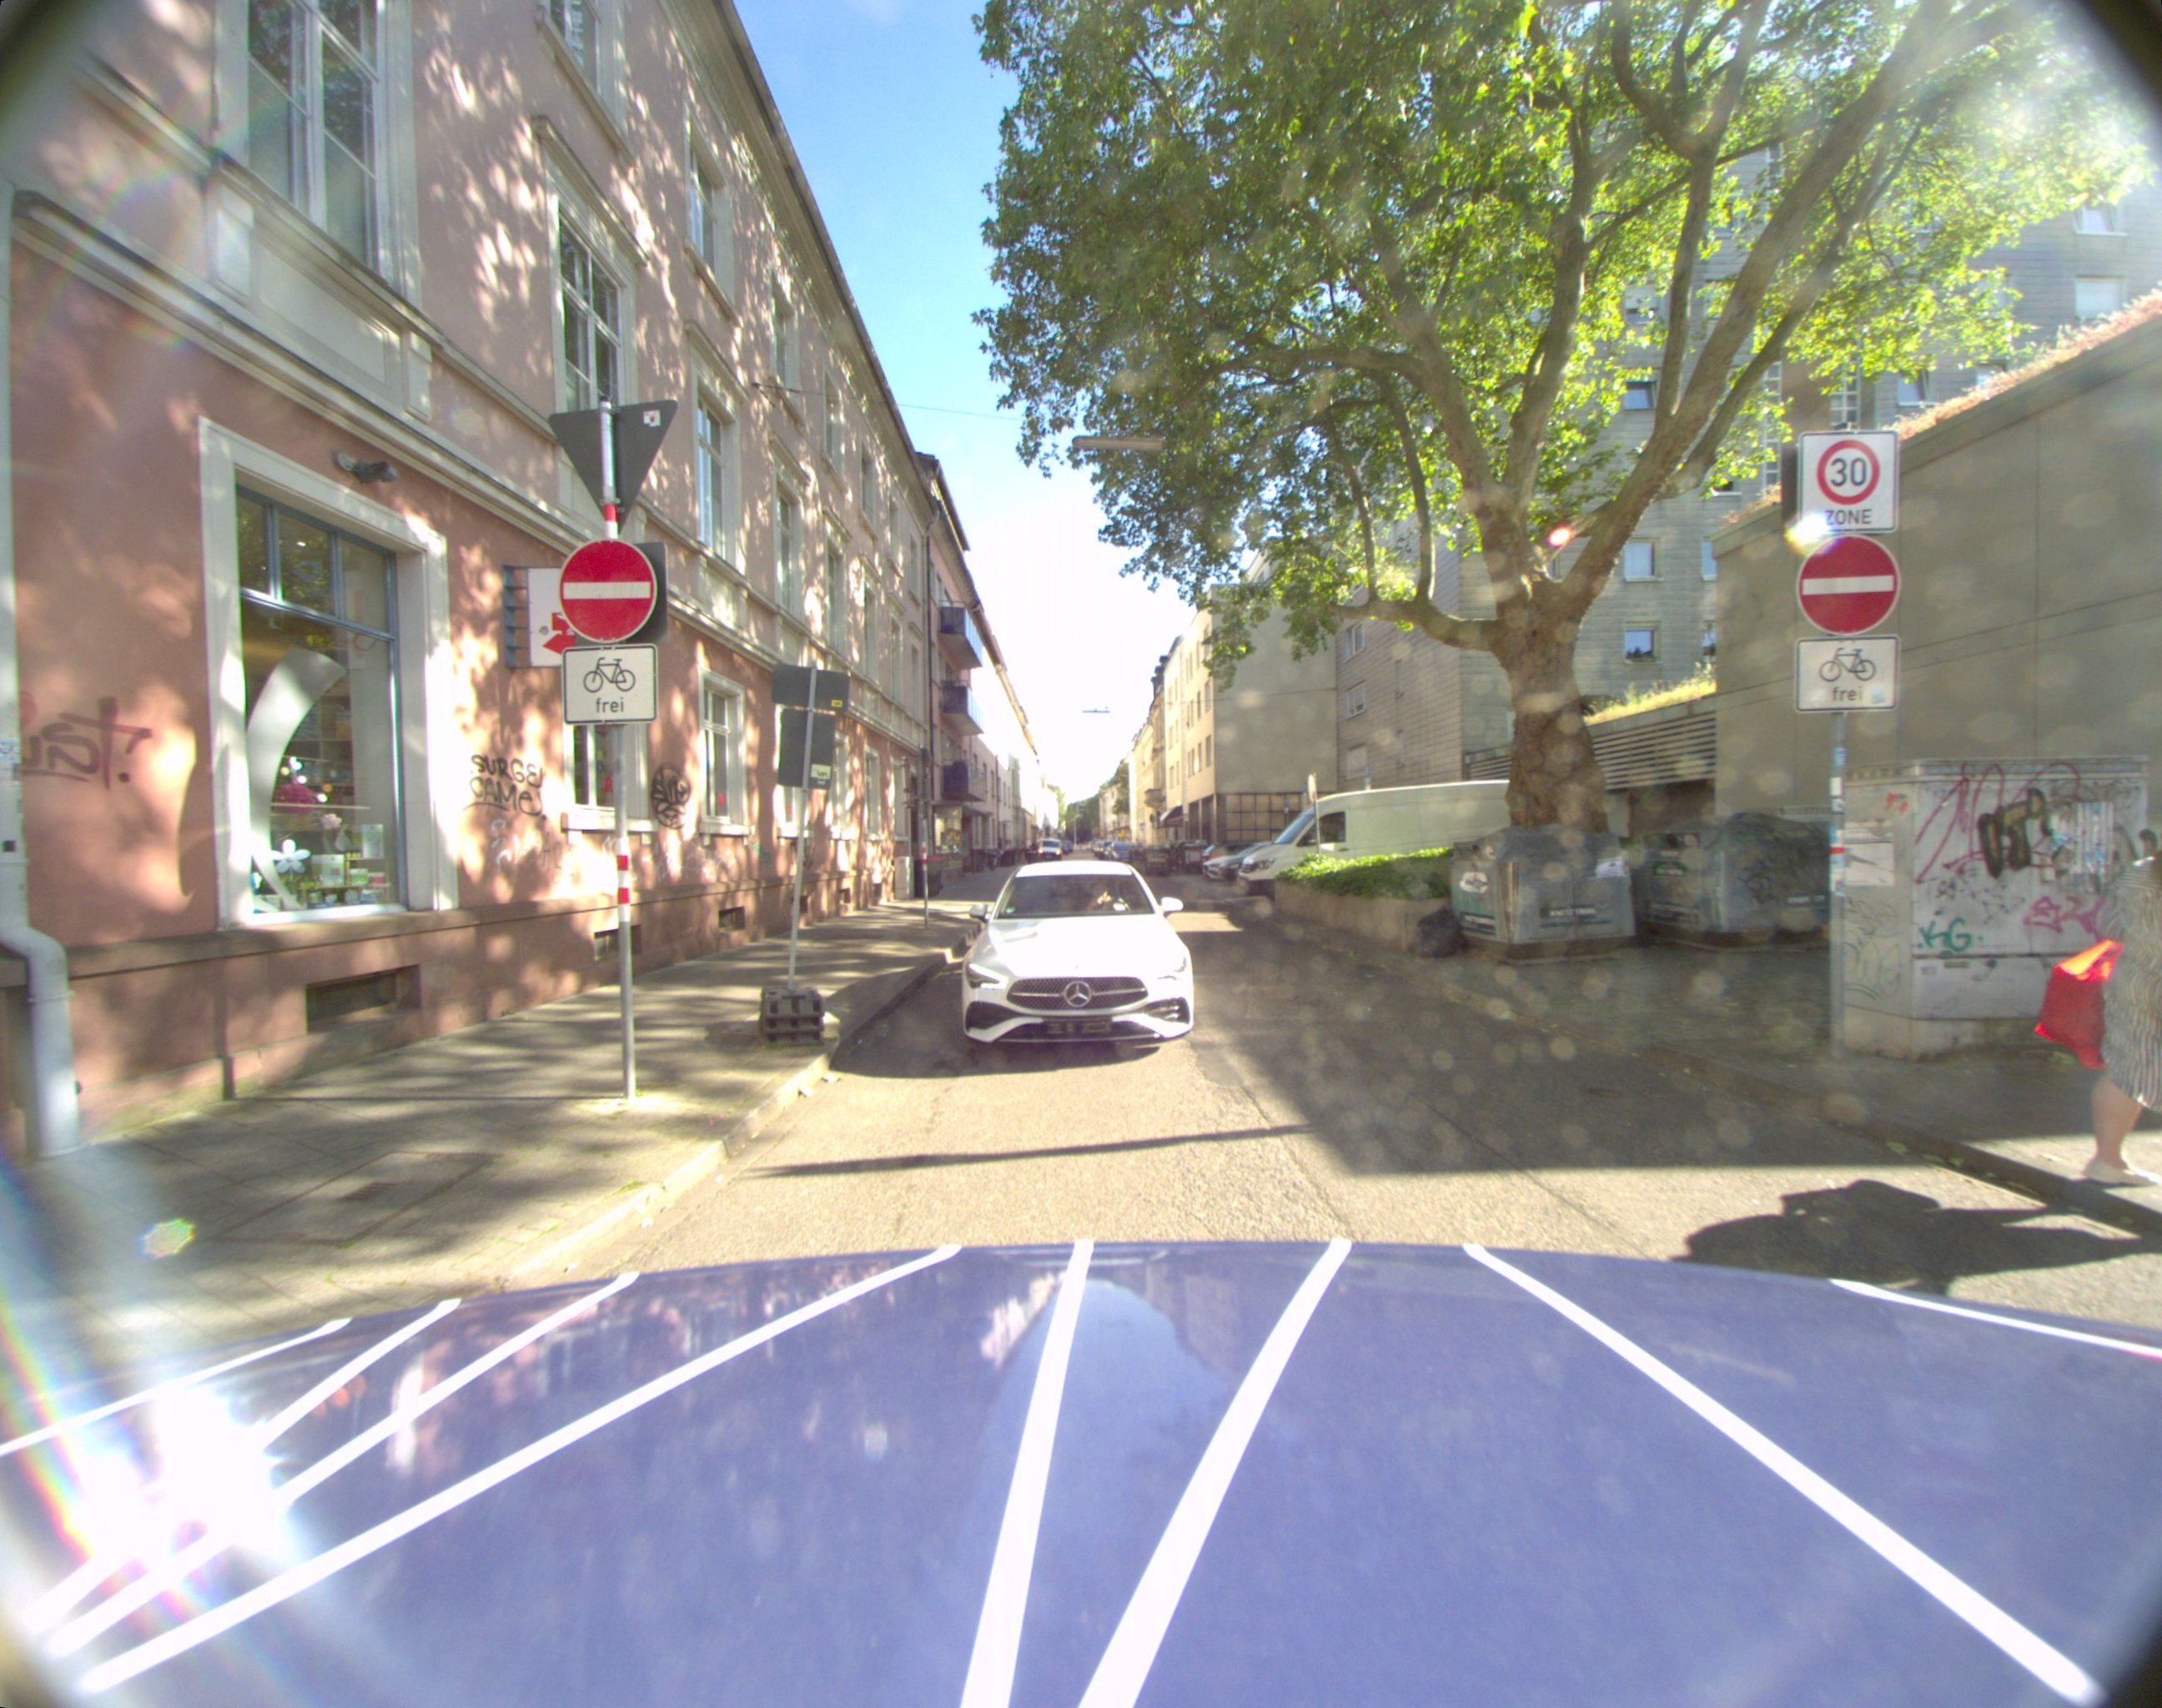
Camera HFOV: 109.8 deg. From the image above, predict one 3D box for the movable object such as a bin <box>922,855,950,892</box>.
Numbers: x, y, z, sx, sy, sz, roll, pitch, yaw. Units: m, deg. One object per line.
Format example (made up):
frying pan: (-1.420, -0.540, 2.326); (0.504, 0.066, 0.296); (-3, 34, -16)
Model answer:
movable object such as a bin: (-4.440, 0.600, 23.273); (0.718, 1.078, 0.618); (2, 1, -2)

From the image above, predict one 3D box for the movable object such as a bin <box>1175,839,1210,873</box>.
movable object such as a bin: (5.059, 0.074, 34.593); (1.328, 1.492, 1.194); (-1, 1, -2)

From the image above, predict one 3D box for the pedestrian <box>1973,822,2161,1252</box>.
pedestrian: (4.404, 0.678, 2.944); (0.846, 1.564, 0.846); (-5, 1, -5)

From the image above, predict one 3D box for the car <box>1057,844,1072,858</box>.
car: (-2.113, -0.365, 99.143); (1.765, 1.698, 4.326); (-1, 1, 0)

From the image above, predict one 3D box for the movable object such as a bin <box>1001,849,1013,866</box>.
movable object such as a bin: (-4.594, 0.221, 47.154); (0.717, 0.996, 0.546); (2, 1, -2)

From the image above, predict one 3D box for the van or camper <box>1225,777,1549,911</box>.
van or camper: (7.250, -0.234, 18.535); (6.922, 2.560, 2.000); (-4, 1, 1)

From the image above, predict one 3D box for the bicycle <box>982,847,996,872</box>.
bicycle: (-4.476, 0.241, 37.051); (0.402, 1.144, 2.024); (-1, 1, 1)

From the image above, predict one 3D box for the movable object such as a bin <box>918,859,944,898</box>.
movable object such as a bin: (-4.186, 0.668, 21.214); (0.570, 1.052, 0.611); (2, 1, -2)

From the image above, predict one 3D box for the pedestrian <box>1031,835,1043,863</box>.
pedestrian: (-3.177, -0.381, 54.903); (0.761, 2.002, 0.771); (-1, 2, 1)

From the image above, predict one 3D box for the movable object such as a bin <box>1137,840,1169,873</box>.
movable object such as a bin: (3.321, 0.099, 35.120); (1.241, 1.492, 1.876); (0, 1, -2)

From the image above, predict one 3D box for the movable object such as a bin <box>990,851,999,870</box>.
movable object such as a bin: (-4.529, 0.333, 39.582); (0.416, 0.935, 0.302); (2, 2, -2)

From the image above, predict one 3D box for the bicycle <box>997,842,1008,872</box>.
bicycle: (-4.615, 0.164, 44.651); (0.402, 1.726, 2.106); (-1, 1, 1)

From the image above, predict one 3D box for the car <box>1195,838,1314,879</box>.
car: (7.081, 0.168, 31.182); (4.417, 1.524, 1.698); (-1, 1, -6)

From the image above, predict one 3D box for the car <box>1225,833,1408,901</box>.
car: (6.360, 0.335, 20.846); (4.415, 1.525, 1.698); (-3, 1, -1)

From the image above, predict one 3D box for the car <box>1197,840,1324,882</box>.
car: (6.786, 0.235, 28.894); (4.417, 1.454, 1.598); (-1, 1, -6)

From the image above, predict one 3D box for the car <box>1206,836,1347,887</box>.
car: (6.757, 0.232, 26.426); (4.417, 1.607, 1.697); (-1, 1, -6)

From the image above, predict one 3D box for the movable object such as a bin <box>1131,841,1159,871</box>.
movable object such as a bin: (3.294, 0.066, 39.110); (1.222, 1.492, 1.559); (-1, 1, -2)

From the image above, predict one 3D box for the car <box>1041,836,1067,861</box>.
car: (-2.129, -0.472, 60.721); (1.765, 1.843, 4.327); (-1, 1, 1)

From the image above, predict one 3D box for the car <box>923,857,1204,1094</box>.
car: (-0.092, 0.846, 7.499); (1.862, 1.449, 4.562); (-3, 1, 1)

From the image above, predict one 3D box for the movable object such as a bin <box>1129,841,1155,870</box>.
movable object such as a bin: (3.250, 0.045, 40.683); (1.222, 1.492, 1.559); (-1, 1, -2)

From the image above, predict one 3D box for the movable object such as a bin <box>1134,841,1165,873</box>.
movable object such as a bin: (3.350, 0.133, 37.158); (1.247, 1.492, 1.924); (-1, 1, -2)

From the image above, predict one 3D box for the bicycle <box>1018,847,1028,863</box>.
bicycle: (-4.159, 0.037, 54.592); (0.490, 1.090, 1.932); (-1, 1, 1)

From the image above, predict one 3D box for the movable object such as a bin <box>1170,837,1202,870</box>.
movable object such as a bin: (4.949, -0.035, 35.992); (1.222, 1.492, 1.517); (-1, 1, -2)

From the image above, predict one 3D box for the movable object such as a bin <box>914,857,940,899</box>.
movable object such as a bin: (-4.162, 0.648, 20.590); (0.570, 1.078, 0.654); (2, 1, -2)

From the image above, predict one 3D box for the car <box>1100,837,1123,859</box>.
car: (2.455, -0.496, 62.893); (1.765, 1.698, 4.327); (-1, 1, 1)

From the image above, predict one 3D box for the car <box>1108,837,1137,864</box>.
car: (2.768, -0.238, 51.137); (1.765, 1.698, 4.327); (-1, 1, 1)

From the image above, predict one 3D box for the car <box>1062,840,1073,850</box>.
car: (-2.216, -1.488, 124.905); (1.765, 1.698, 4.326); (-1, 1, 0)
